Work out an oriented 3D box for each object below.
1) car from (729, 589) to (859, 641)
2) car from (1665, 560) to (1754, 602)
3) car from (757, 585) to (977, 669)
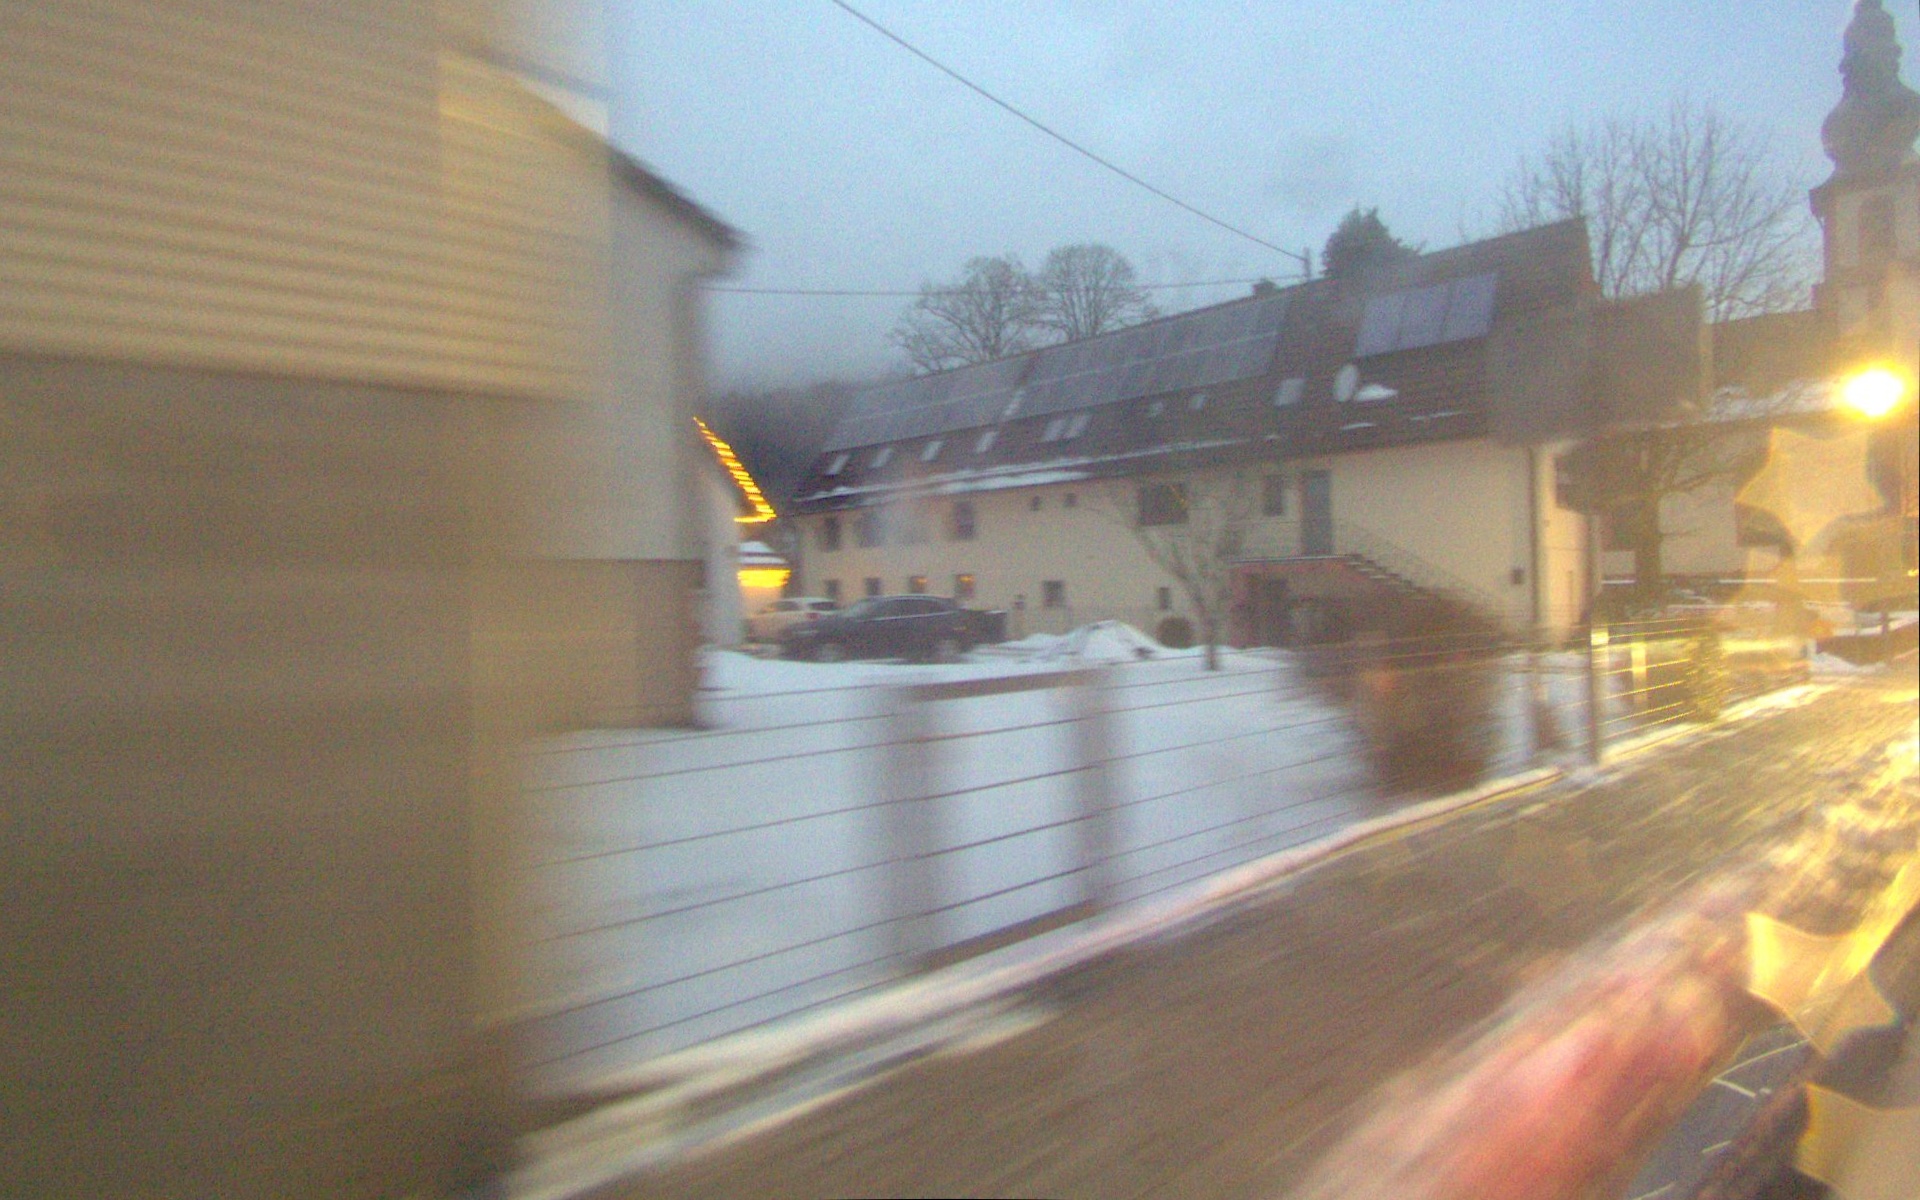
[{"bbox_3d":[-5.421,0.468,32.755,4.074,1.520,2.023,-1,1,41],"label":"car"},{"bbox_3d":[29.147,-0.778,39.495,1.735,1.429,4.055,0,4,21],"label":"car"},{"bbox_3d":[-2.136,0.547,23.148,4.435,1.629,2.331,-2,1,-26],"label":"car"}]
